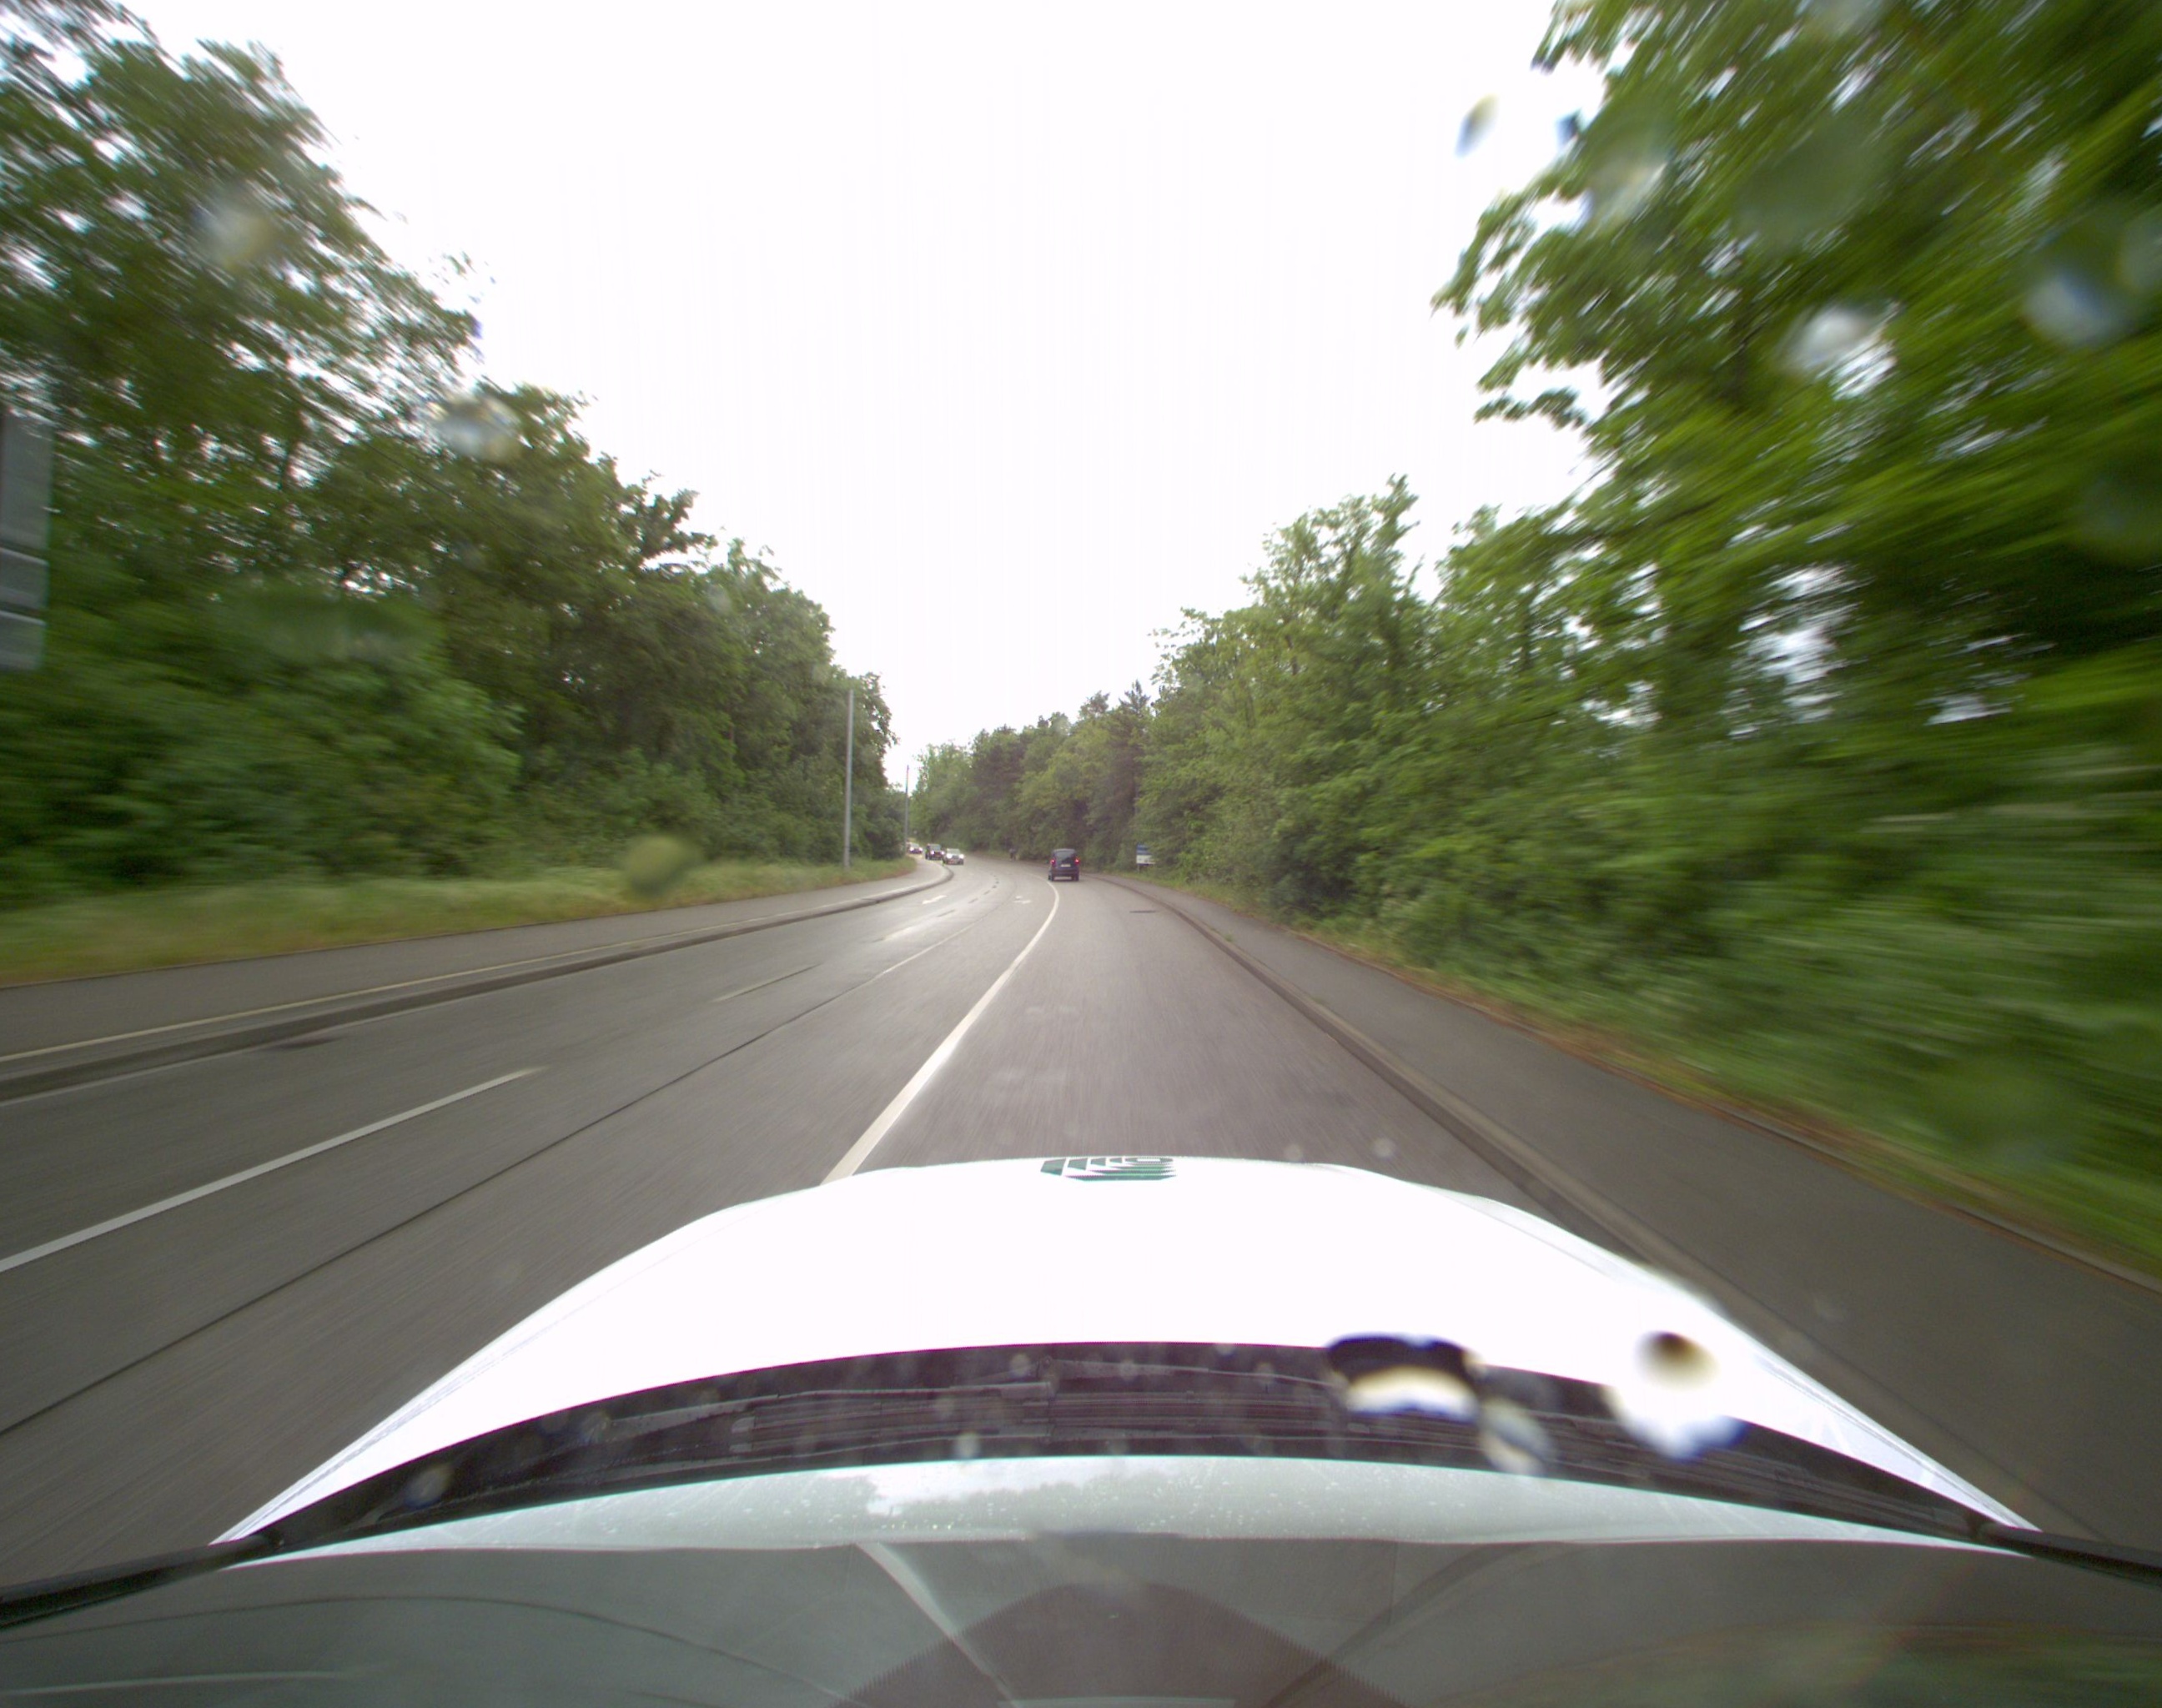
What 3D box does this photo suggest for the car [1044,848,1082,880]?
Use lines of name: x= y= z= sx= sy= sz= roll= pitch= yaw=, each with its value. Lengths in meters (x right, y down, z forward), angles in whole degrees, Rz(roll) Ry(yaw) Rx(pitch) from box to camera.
car: x=-1.111 y=0.575 z=48.133 sx=1.825 sy=1.794 sz=3.990 roll=-1 pitch=0 yaw=-7

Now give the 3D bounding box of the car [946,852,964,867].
car: x=-13.853 y=0.639 z=89.671 sx=1.808 sy=1.595 sz=4.504 roll=0 pitch=0 yaw=-9

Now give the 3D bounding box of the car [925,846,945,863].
car: x=-18.431 y=0.065 z=102.560 sx=1.833 sy=1.843 sz=4.679 roll=0 pitch=-4 yaw=-19

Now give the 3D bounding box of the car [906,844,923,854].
car: x=-24.430 y=-0.759 z=119.263 sx=1.834 sy=1.440 sz=3.972 roll=0 pitch=0 yaw=-21
